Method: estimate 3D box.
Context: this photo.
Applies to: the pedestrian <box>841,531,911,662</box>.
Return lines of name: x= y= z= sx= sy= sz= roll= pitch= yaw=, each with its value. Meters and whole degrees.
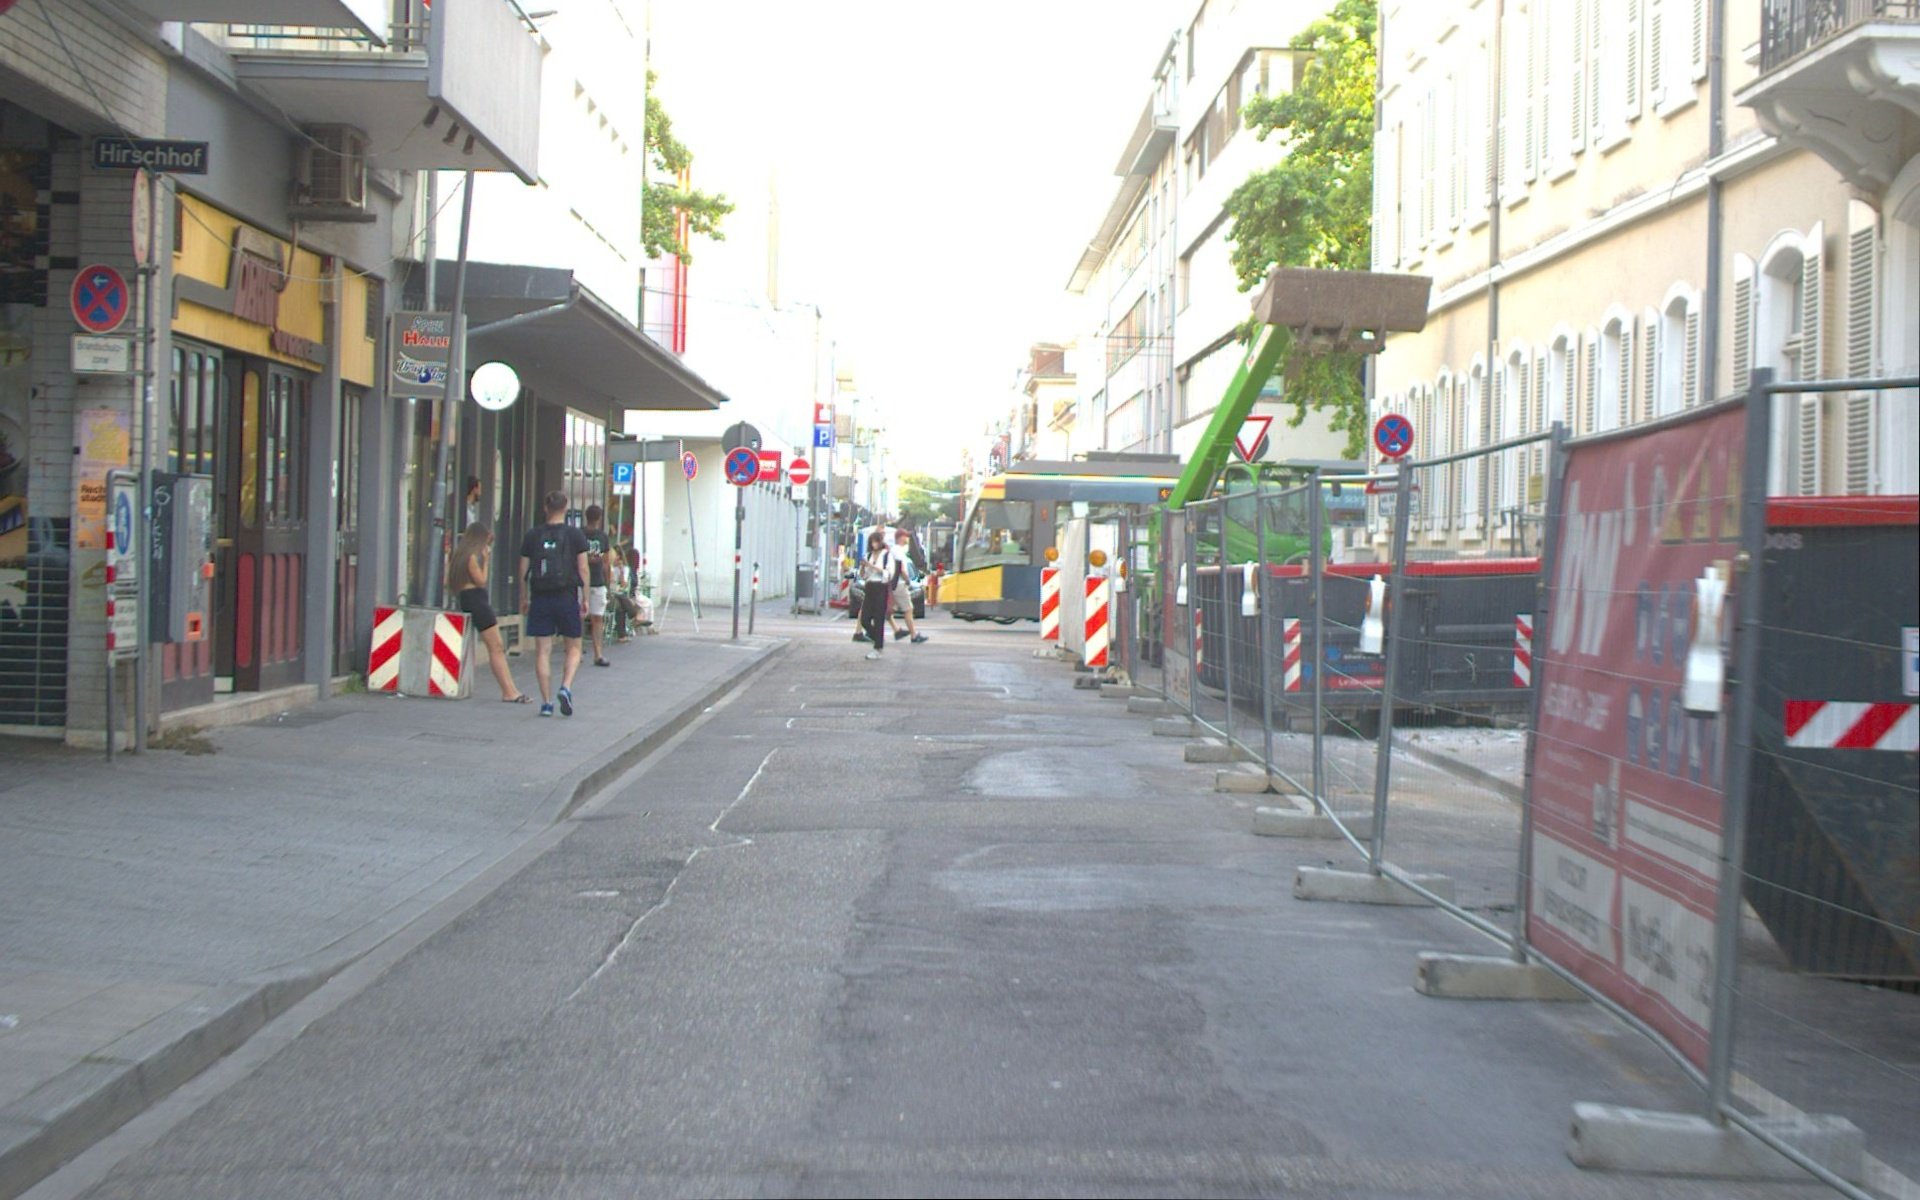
pedestrian: x=-1.137 y=-0.052 z=46.440 sx=0.721 sy=1.734 sz=0.647 roll=2 pitch=1 yaw=20

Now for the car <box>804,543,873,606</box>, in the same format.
car: x=-2.805 y=-0.599 z=79.939 sx=1.474 sy=1.393 sz=3.332 roll=2 pitch=1 yaw=-1

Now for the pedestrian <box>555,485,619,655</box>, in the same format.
pedestrian: x=-4.205 y=-0.341 z=38.766 sx=0.654 sy=1.880 sz=0.574 roll=1 pitch=1 yaw=-8

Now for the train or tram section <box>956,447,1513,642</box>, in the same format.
train or tram section: x=5.217 y=-1.078 z=66.914 sx=10.486 sy=3.448 sz=3.000 roll=1 pitch=1 yaw=-1

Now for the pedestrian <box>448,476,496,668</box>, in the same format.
pedestrian: x=-5.154 y=-0.297 z=36.311 sx=0.410 sy=2.007 sz=0.454 roll=1 pitch=1 yaw=-3

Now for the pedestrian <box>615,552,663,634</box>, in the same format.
pedestrian: x=-4.692 y=-0.107 z=50.309 sx=0.618 sy=1.168 sz=0.788 roll=1 pitch=1 yaw=-1

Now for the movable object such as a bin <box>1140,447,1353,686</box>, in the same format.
movable object such as a bin: x=3.977 y=-0.527 z=48.556 sx=2.470 sy=3.120 sz=4.298 roll=2 pitch=2 yaw=-1

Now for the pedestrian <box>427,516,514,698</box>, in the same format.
pedestrian: x=-4.262 y=0.057 z=29.923 sx=0.645 sy=1.559 sz=0.631 roll=1 pitch=1 yaw=-15

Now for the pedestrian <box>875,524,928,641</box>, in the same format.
pedestrian: x=-0.925 y=-0.278 z=54.058 sx=0.645 sy=1.803 sz=0.631 roll=1 pitch=1 yaw=-17

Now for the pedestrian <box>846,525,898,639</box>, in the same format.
pedestrian: x=-1.417 y=-0.293 z=55.026 sx=0.645 sy=1.803 sz=0.631 roll=1 pitch=1 yaw=-17

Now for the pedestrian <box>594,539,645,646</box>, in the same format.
pedestrian: x=-4.602 y=-0.112 z=46.489 sx=0.558 sy=1.386 sz=0.893 roll=2 pitch=2 yaw=-1

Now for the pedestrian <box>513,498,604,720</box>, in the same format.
pedestrian: x=-3.324 y=0.066 z=28.494 sx=0.629 sy=1.802 sz=0.647 roll=1 pitch=1 yaw=1

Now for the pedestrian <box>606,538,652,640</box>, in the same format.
pedestrian: x=-4.578 y=-0.151 z=47.508 sx=0.542 sy=1.383 sz=0.625 roll=1 pitch=1 yaw=0
